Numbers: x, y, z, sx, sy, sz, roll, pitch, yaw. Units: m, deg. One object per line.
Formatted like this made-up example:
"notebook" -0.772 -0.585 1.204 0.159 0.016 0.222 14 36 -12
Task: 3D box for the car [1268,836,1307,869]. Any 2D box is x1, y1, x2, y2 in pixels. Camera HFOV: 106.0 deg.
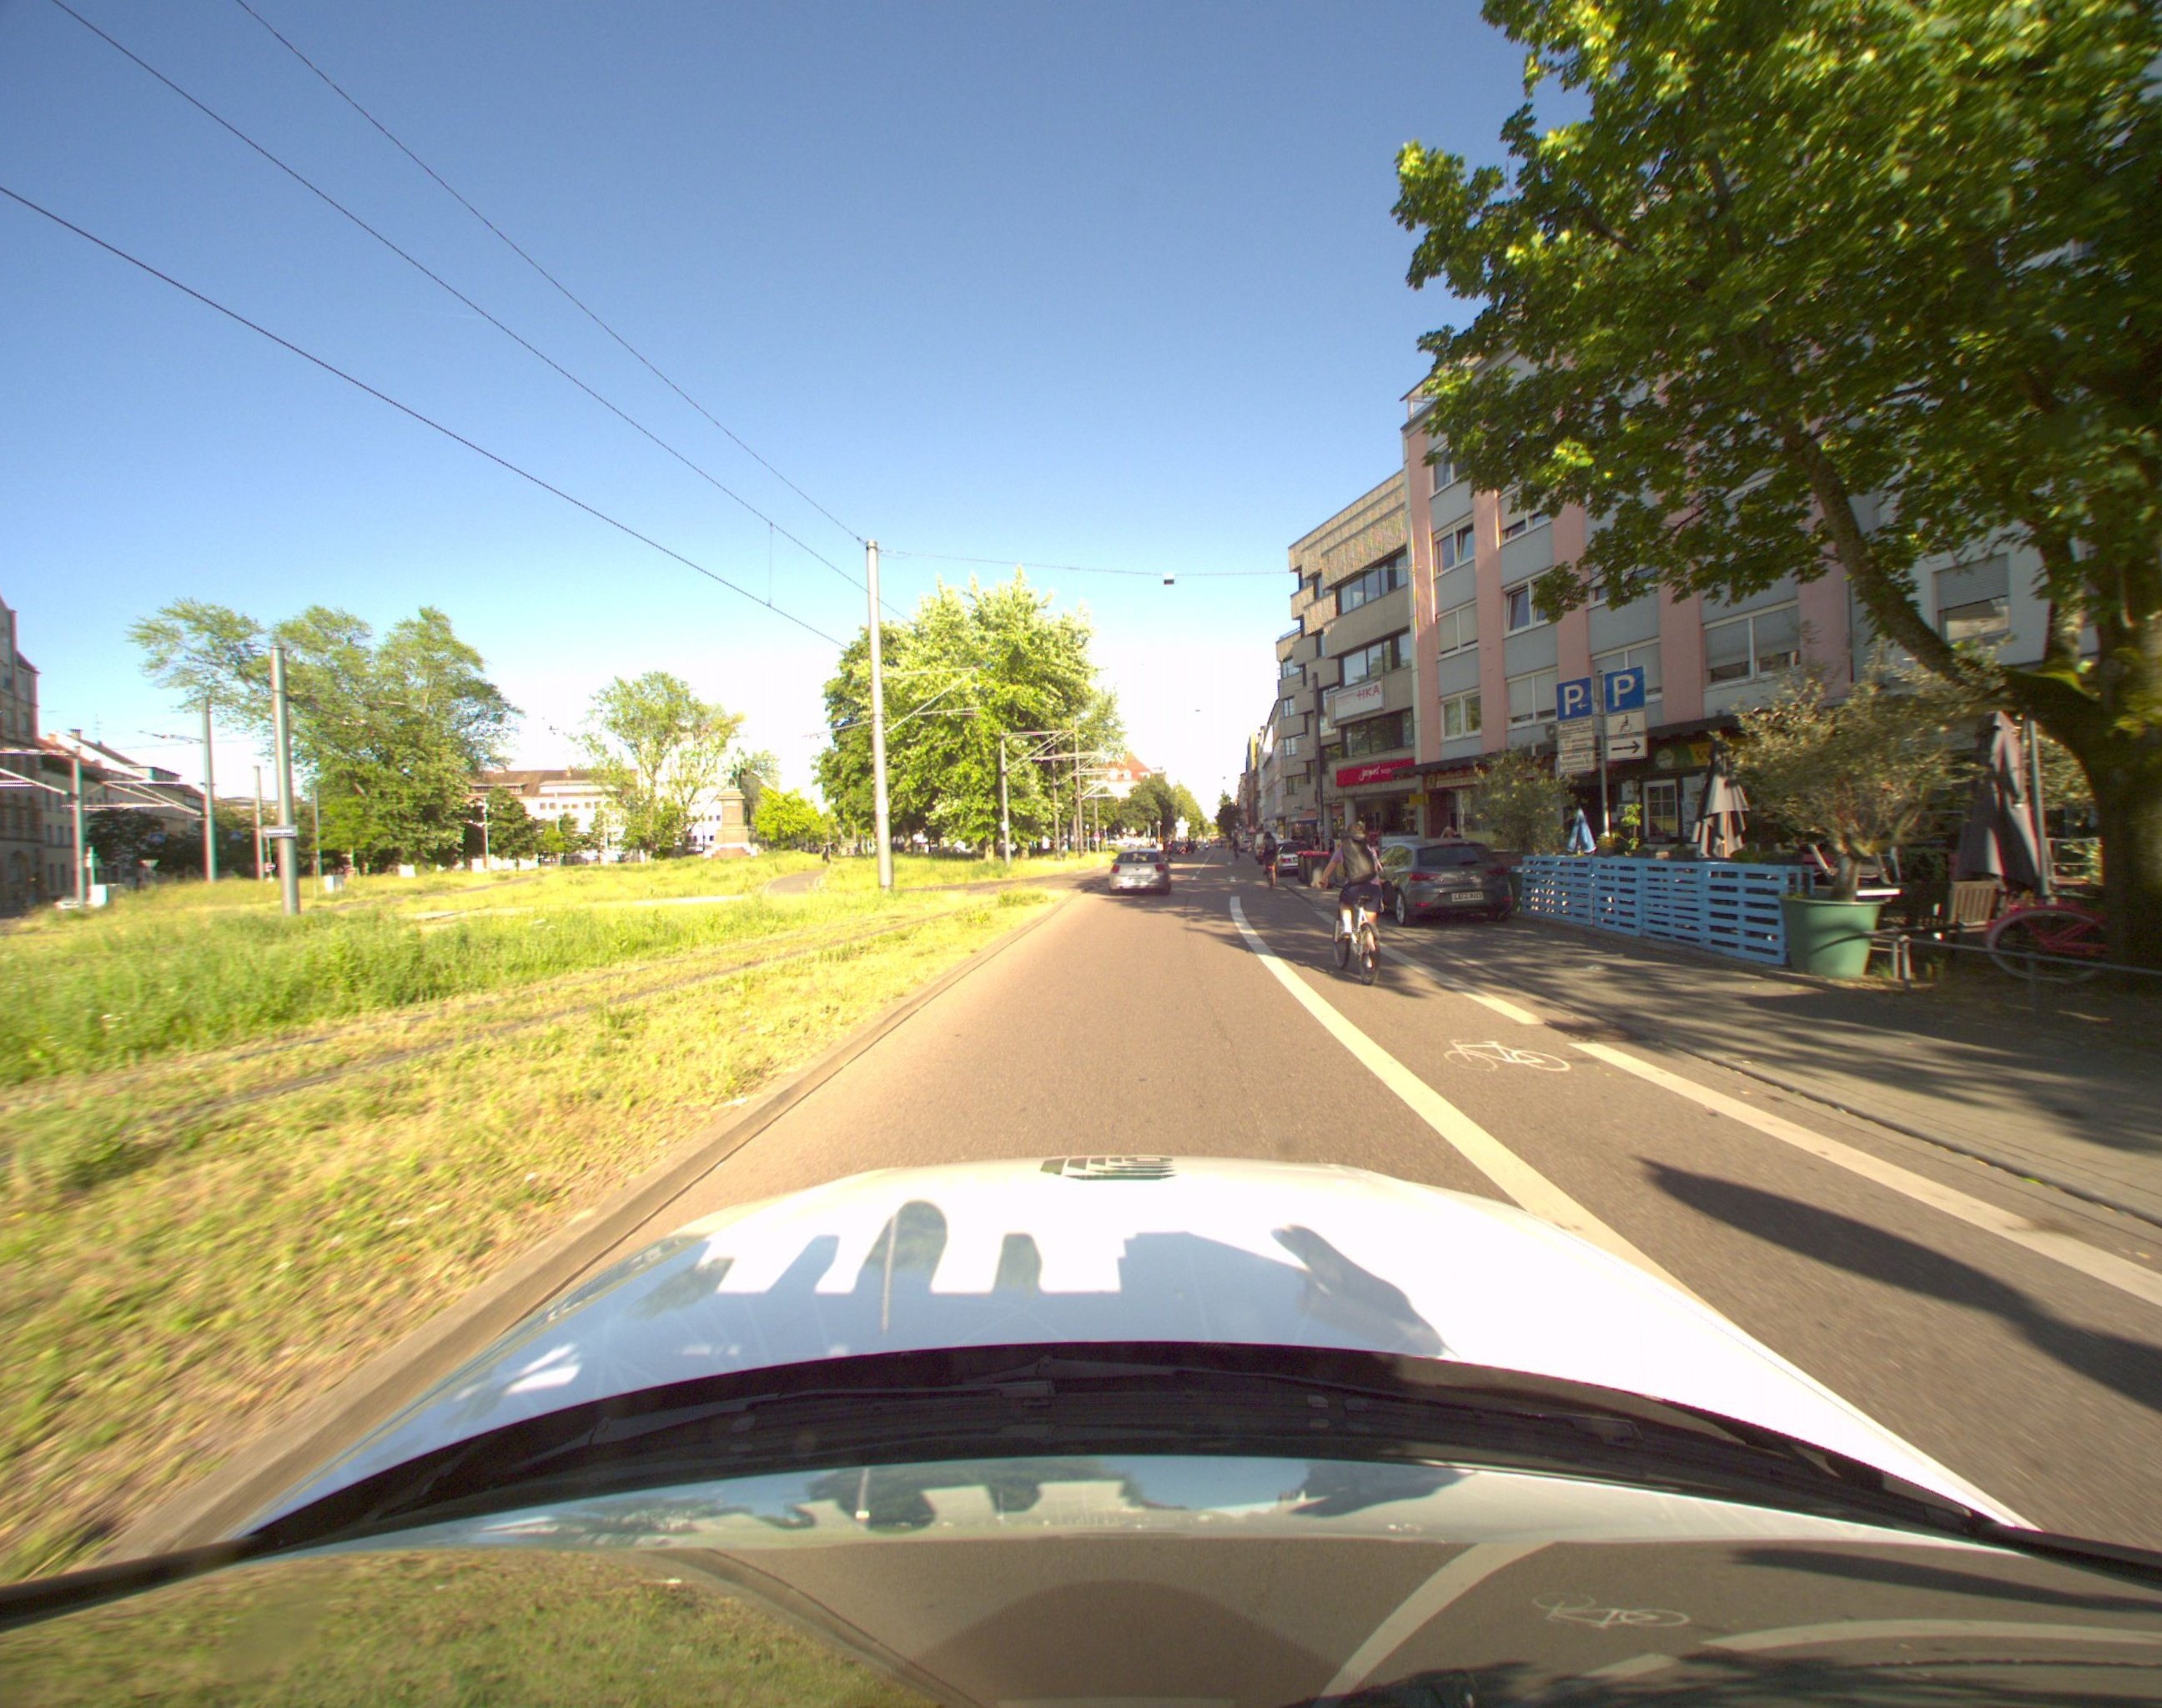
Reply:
"car" 10.171 -0.087 40.307 1.660 1.518 4.213 -1 0 12

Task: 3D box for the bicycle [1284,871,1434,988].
"bicycle" 3.107 0.789 9.394 0.883 1.136 2.226 -1 0 -3

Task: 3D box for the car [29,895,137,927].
"car" -57.745 3.259 47.247 2.003 1.354 4.730 -2 1 -24

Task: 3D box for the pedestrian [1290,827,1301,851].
"pedestrian" 17.116 -1.209 64.948 0.666 1.856 0.612 -5 -1 13

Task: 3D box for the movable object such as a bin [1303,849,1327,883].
"movable object such as a bin" 7.376 0.368 25.694 0.616 1.069 0.611 -1 0 6

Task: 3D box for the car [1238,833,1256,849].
"car" 22.449 -1.809 110.169 1.982 2.004 5.130 -2 1 8

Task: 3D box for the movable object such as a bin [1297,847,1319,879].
"movable object such as a bin" 7.669 0.299 27.522 0.601 1.069 0.546 -1 0 6

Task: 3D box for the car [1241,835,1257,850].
"car" 20.548 -1.391 99.878 1.735 1.738 4.973 -1 0 9

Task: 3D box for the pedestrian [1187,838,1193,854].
"pedestrian" 11.887 -0.869 88.836 0.632 1.672 0.694 -1 0 10

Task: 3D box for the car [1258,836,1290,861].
"car" 11.938 -0.342 50.524 1.762 1.454 4.746 -1 0 12

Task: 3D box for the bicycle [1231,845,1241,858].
"bicycle" 11.412 -0.168 60.046 0.649 0.958 2.704 -1 0 8

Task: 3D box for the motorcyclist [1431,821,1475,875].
"motorcyclist" 10.975 -0.163 24.049 0.894 1.551 0.806 -1 0 0

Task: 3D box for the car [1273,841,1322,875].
"car" 9.338 0.167 35.455 1.839 1.344 4.615 -1 0 12

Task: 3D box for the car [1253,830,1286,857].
"car" 13.150 -0.689 56.945 1.981 1.813 4.321 -1 0 9

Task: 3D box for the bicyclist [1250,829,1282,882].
"bicyclist" 5.835 0.036 25.787 0.933 1.633 0.938 -1 0 11

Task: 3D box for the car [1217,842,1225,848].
"car" 35.782 -2.341 208.057 1.858 1.555 4.012 -1 0 10

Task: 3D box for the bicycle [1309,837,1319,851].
"bicycle" 17.992 -0.759 62.831 0.559 1.034 1.649 -1 0 10

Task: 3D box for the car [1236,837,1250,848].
"car" 23.776 -1.656 119.592 1.708 1.515 3.592 -4 -1 9

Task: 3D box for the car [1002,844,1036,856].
"car" -10.784 -0.656 141.835 5.589 2.014 1.807 -1 0 -17

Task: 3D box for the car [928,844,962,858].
"car" -22.237 -0.470 133.406 5.343 2.314 1.991 -1 0 -14

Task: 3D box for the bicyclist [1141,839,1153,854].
"bicyclist" 6.472 -0.729 80.375 0.931 1.507 0.820 -1 0 -18

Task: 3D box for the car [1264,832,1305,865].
"car" 11.024 -0.283 44.346 1.840 1.689 3.877 -1 0 9

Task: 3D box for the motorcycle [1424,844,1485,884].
"motorcycle" 11.003 0.278 24.092 0.773 1.126 2.297 -1 0 0

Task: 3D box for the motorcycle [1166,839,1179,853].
"motorcycle" 9.191 -0.768 81.942 0.747 1.374 1.753 -1 0 -14

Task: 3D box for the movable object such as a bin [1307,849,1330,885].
"movable object such as a bin" 7.292 0.394 25.013 0.570 1.082 0.571 -1 0 6

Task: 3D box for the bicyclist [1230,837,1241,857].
"bicyclist" 11.416 -0.518 60.153 0.782 1.453 1.098 -1 0 8

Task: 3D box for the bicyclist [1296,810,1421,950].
"bicyclist" 3.110 0.277 9.219 1.035 1.484 0.987 -1 0 -3

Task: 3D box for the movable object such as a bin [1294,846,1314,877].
"movable object such as a bin" 7.858 0.269 28.671 0.589 1.083 0.605 -1 0 6

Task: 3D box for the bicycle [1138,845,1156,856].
"bicycle" 6.499 -0.328 80.331 0.812 1.069 2.568 -1 0 -17

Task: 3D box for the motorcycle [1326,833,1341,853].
"motorcycle" 16.042 -0.696 51.729 0.757 1.155 2.057 -5 -1 19

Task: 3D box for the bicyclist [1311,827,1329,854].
"bicyclist" 12.070 -0.664 41.111 0.753 1.326 0.997 -1 0 11

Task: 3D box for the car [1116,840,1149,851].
"car" 8.935 -1.551 142.225 5.276 1.800 2.151 -1 0 -17

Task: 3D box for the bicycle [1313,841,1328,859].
"bicycle" 12.086 -0.210 41.082 0.531 0.891 2.077 -1 0 11

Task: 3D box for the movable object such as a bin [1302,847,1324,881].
"movable object such as a bin" 7.469 0.324 26.265 0.588 1.069 0.497 -1 0 6

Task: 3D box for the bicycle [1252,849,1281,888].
"bicycle" 5.858 0.453 25.840 0.814 1.185 1.970 -1 0 11

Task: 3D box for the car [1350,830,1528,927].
"car" 6.354 0.342 15.049 1.756 1.438 4.593 -3 1 7

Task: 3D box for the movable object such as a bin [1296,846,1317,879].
"movable object such as a bin" 7.779 0.294 28.081 0.607 1.105 0.527 -1 0 6

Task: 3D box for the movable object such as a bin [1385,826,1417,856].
"movable object such as a bin" 15.323 -0.630 39.043 1.325 1.397 1.126 -1 0 17

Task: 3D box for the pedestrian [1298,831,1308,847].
"pedestrian" 17.698 -1.206 64.874 0.625 1.236 0.627 -4 -1 13

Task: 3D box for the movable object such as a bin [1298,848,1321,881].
"movable object such as a bin" 7.529 0.343 26.852 0.603 1.069 0.614 -1 0 6

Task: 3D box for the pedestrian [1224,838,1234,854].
"pedestrian" 15.594 -0.866 85.639 0.670 1.699 0.799 -1 -1 -22

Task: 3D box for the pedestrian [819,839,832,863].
"pedestrian" -17.728 -0.211 56.412 0.679 1.615 0.548 0 -1 -43

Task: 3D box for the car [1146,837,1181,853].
"car" 9.646 -1.020 95.923 3.847 1.682 1.811 -3 0 -2

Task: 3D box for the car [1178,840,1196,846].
"car" 24.945 -2.589 191.594 3.962 1.508 1.900 -1 0 10

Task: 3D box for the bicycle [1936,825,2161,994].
"bicycle" 8.443 0.406 6.435 2.141 1.250 0.905 -2 1 31

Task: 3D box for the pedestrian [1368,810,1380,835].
"pedestrian" 22.073 -2.350 61.346 0.697 1.816 0.721 -1 -1 25

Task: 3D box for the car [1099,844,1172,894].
"car" 1.802 0.435 25.564 1.982 1.423 4.206 -1 0 8
